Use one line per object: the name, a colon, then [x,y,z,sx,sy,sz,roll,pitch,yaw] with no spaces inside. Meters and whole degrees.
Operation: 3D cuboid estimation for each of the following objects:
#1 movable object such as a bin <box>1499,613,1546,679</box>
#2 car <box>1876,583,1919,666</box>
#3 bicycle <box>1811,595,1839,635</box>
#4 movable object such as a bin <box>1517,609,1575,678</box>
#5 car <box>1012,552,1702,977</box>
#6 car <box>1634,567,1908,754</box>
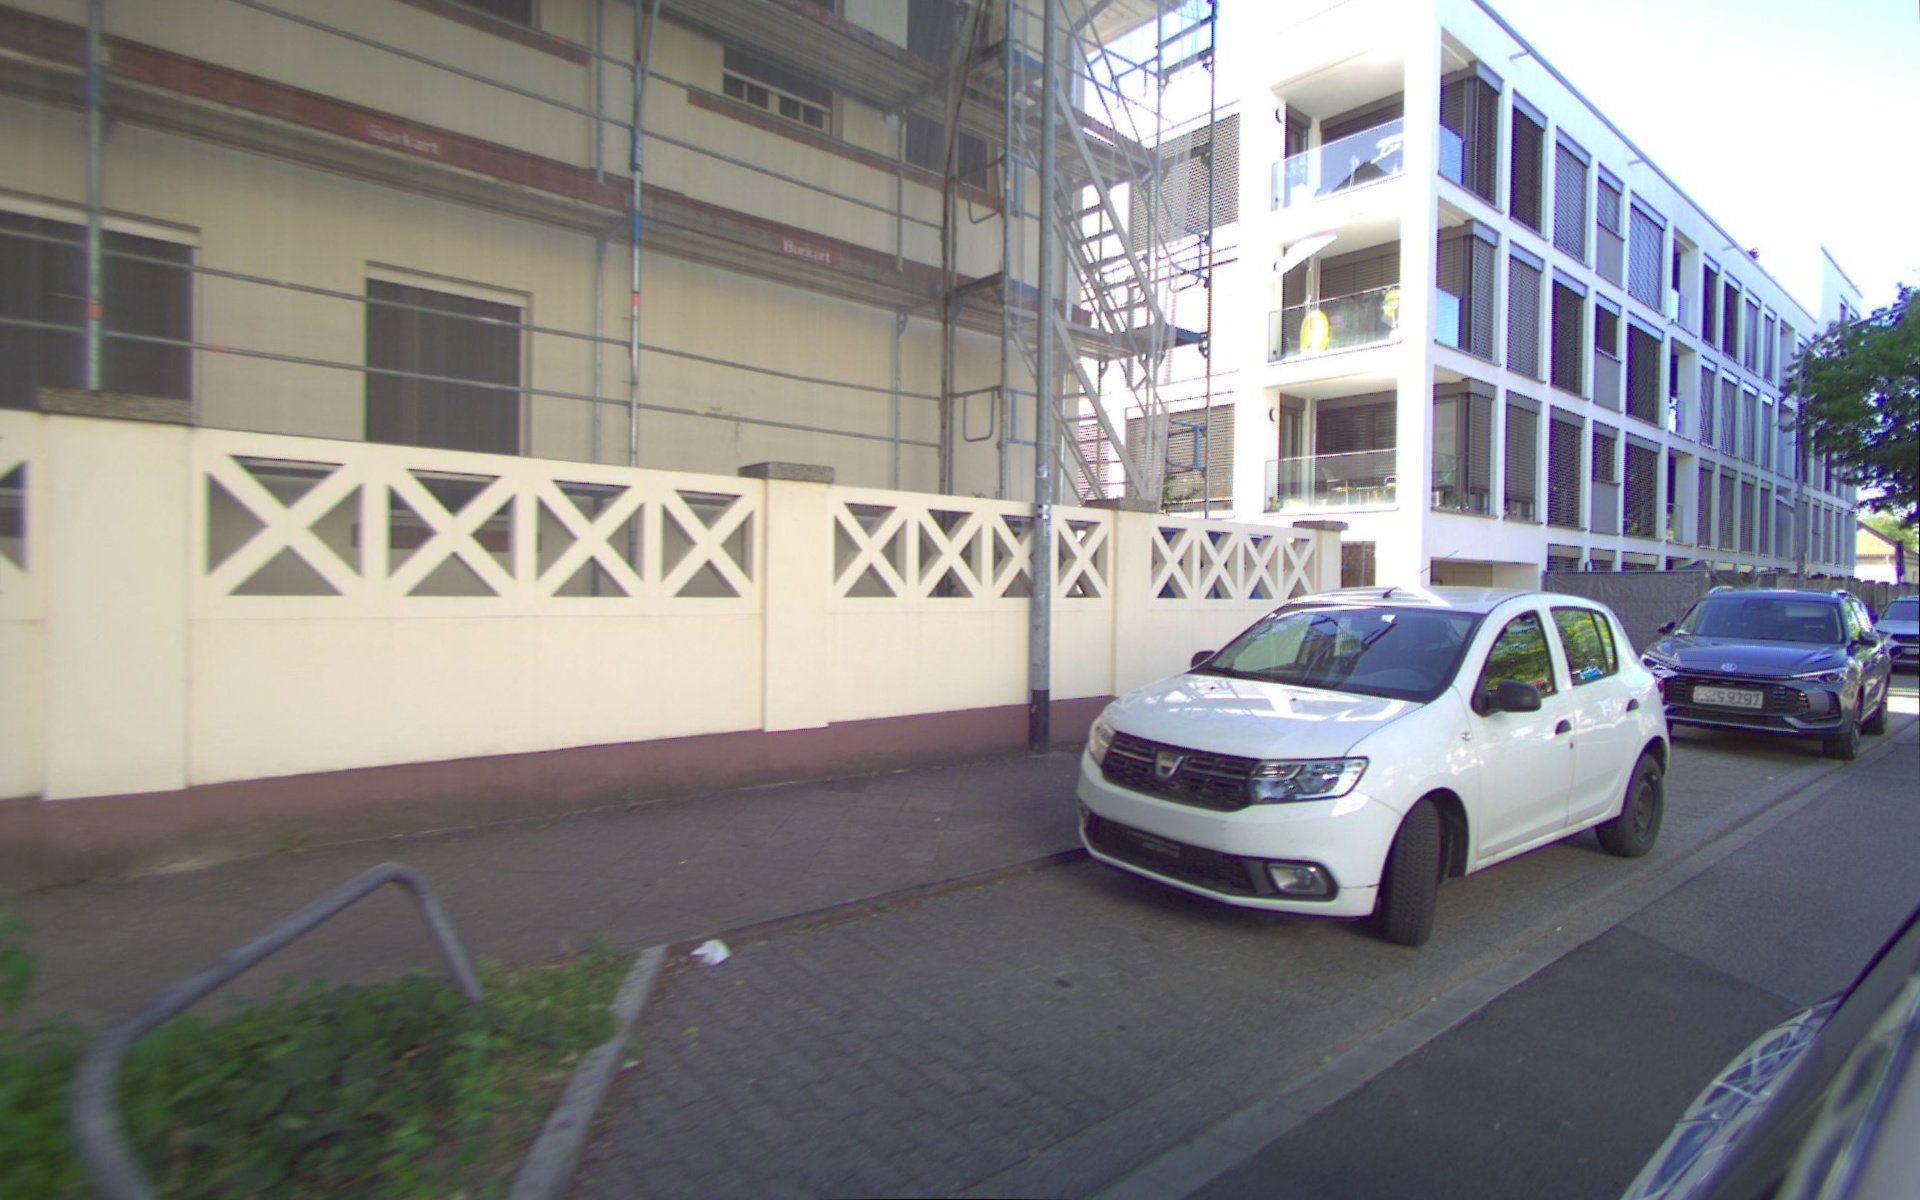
movable object such as a bin: [8.613,0.692,15.493,0.502,0.976,0.435,0,-1,-36]
car: [20.720,0.476,21.267,4.056,1.636,1.795,0,0,-42]
bicycle: [23.612,0.391,27.618,1.799,1.054,0.337,-1,0,-41]
movable object such as a bin: [9.124,0.659,15.762,0.553,1.040,0.599,0,-1,-37]
car: [2.344,0.563,5.547,3.918,1.529,1.729,0,2,-38]
car: [8.961,0.507,11.051,4.230,1.659,1.714,0,1,-43]
